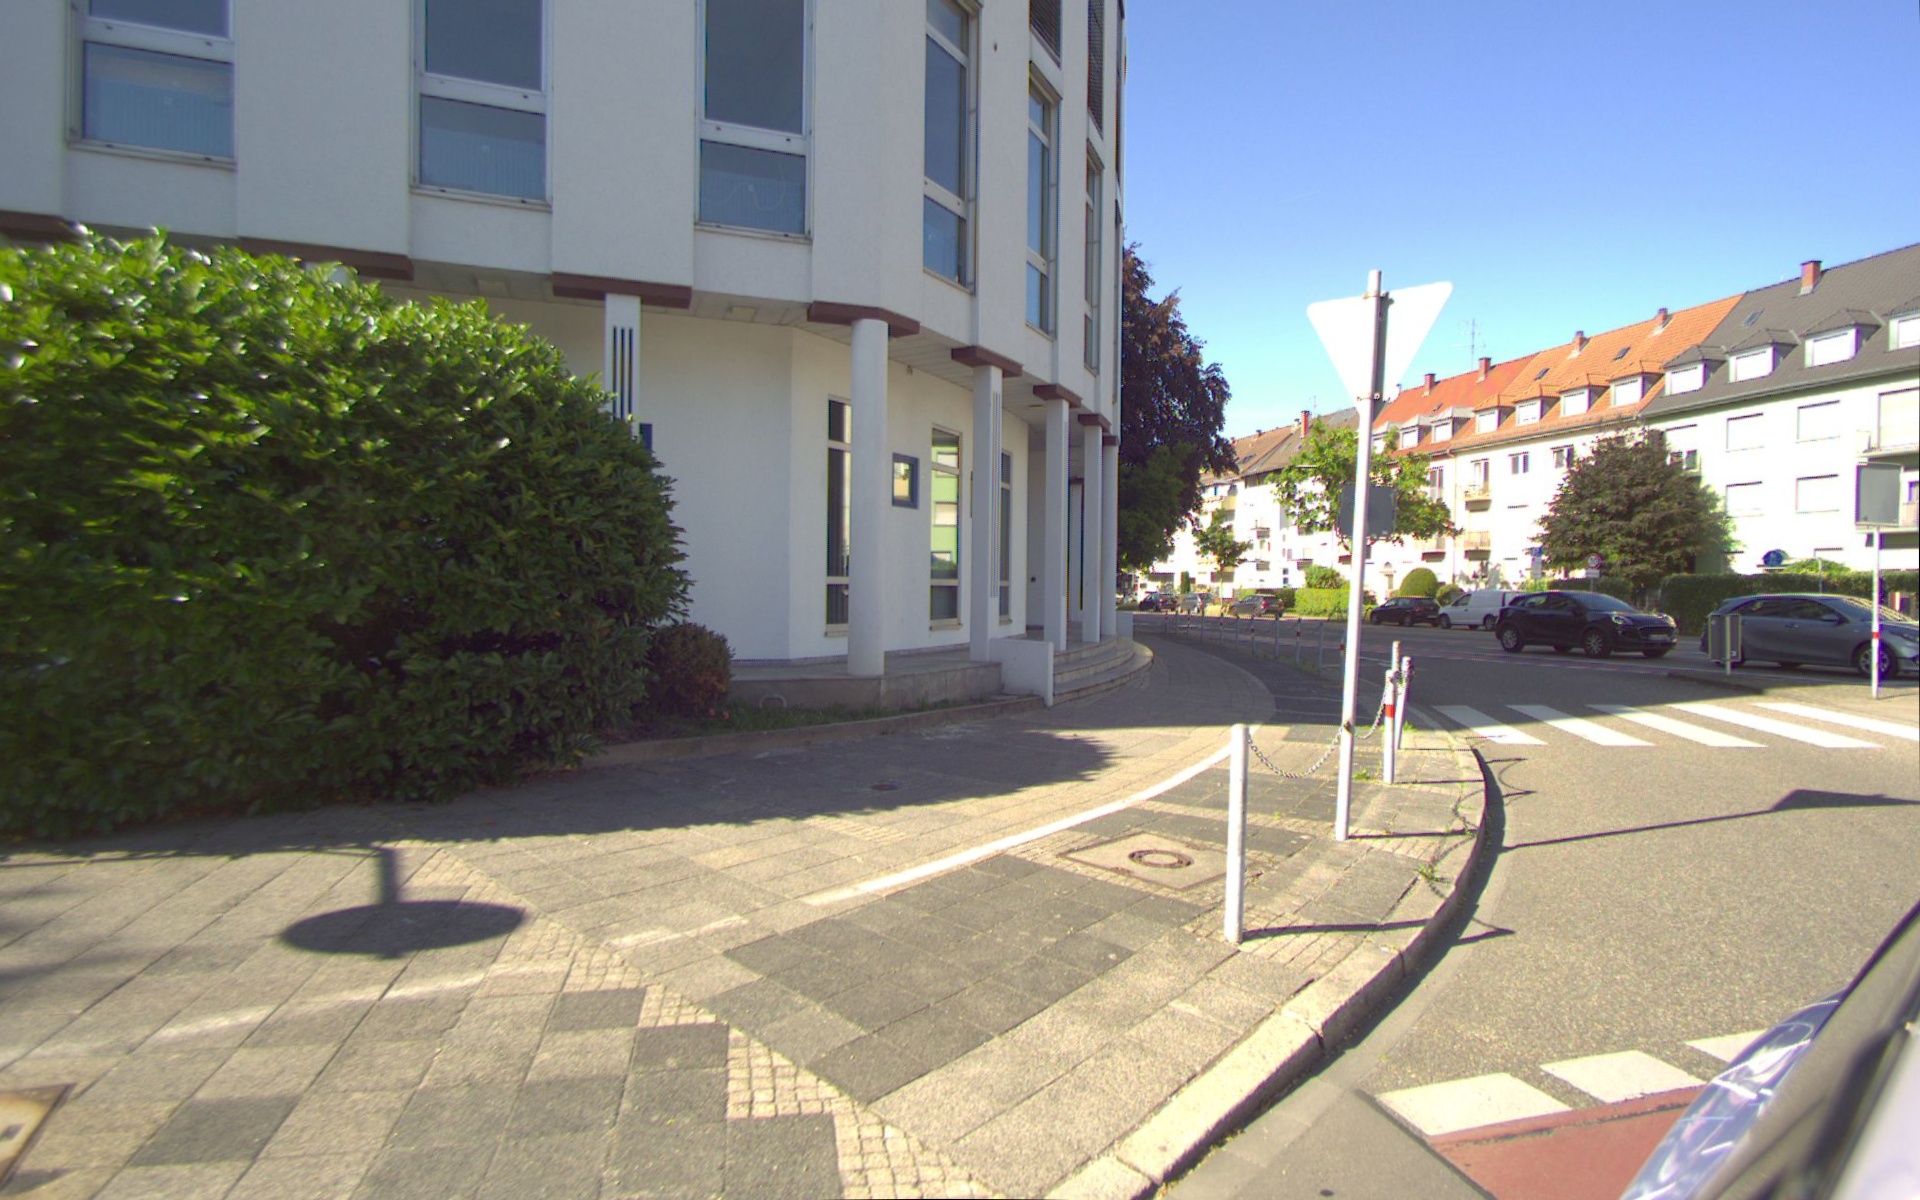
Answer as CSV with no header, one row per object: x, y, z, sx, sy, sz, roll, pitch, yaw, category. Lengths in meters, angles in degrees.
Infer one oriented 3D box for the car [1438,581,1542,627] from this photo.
23.586,0.159,45.232,1.768,1.881,4.175,-3,1,-13,car

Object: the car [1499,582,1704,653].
14.929,0.358,23.838,1.661,1.510,4.083,0,0,-13,car

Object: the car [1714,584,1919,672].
16.275,0.445,18.234,1.845,1.426,4.065,0,0,-13,car

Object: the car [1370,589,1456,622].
22.370,0.248,50.157,1.768,1.447,4.058,-3,1,-13,car

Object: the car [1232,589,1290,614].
19.067,0.064,64.272,1.768,1.476,4.012,-3,1,-13,car

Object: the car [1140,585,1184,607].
15.836,-0.299,79.525,1.768,1.581,4.175,-3,1,-13,car

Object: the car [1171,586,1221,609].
17.089,-0.188,73.494,1.768,1.581,4.175,-3,1,-13,car
